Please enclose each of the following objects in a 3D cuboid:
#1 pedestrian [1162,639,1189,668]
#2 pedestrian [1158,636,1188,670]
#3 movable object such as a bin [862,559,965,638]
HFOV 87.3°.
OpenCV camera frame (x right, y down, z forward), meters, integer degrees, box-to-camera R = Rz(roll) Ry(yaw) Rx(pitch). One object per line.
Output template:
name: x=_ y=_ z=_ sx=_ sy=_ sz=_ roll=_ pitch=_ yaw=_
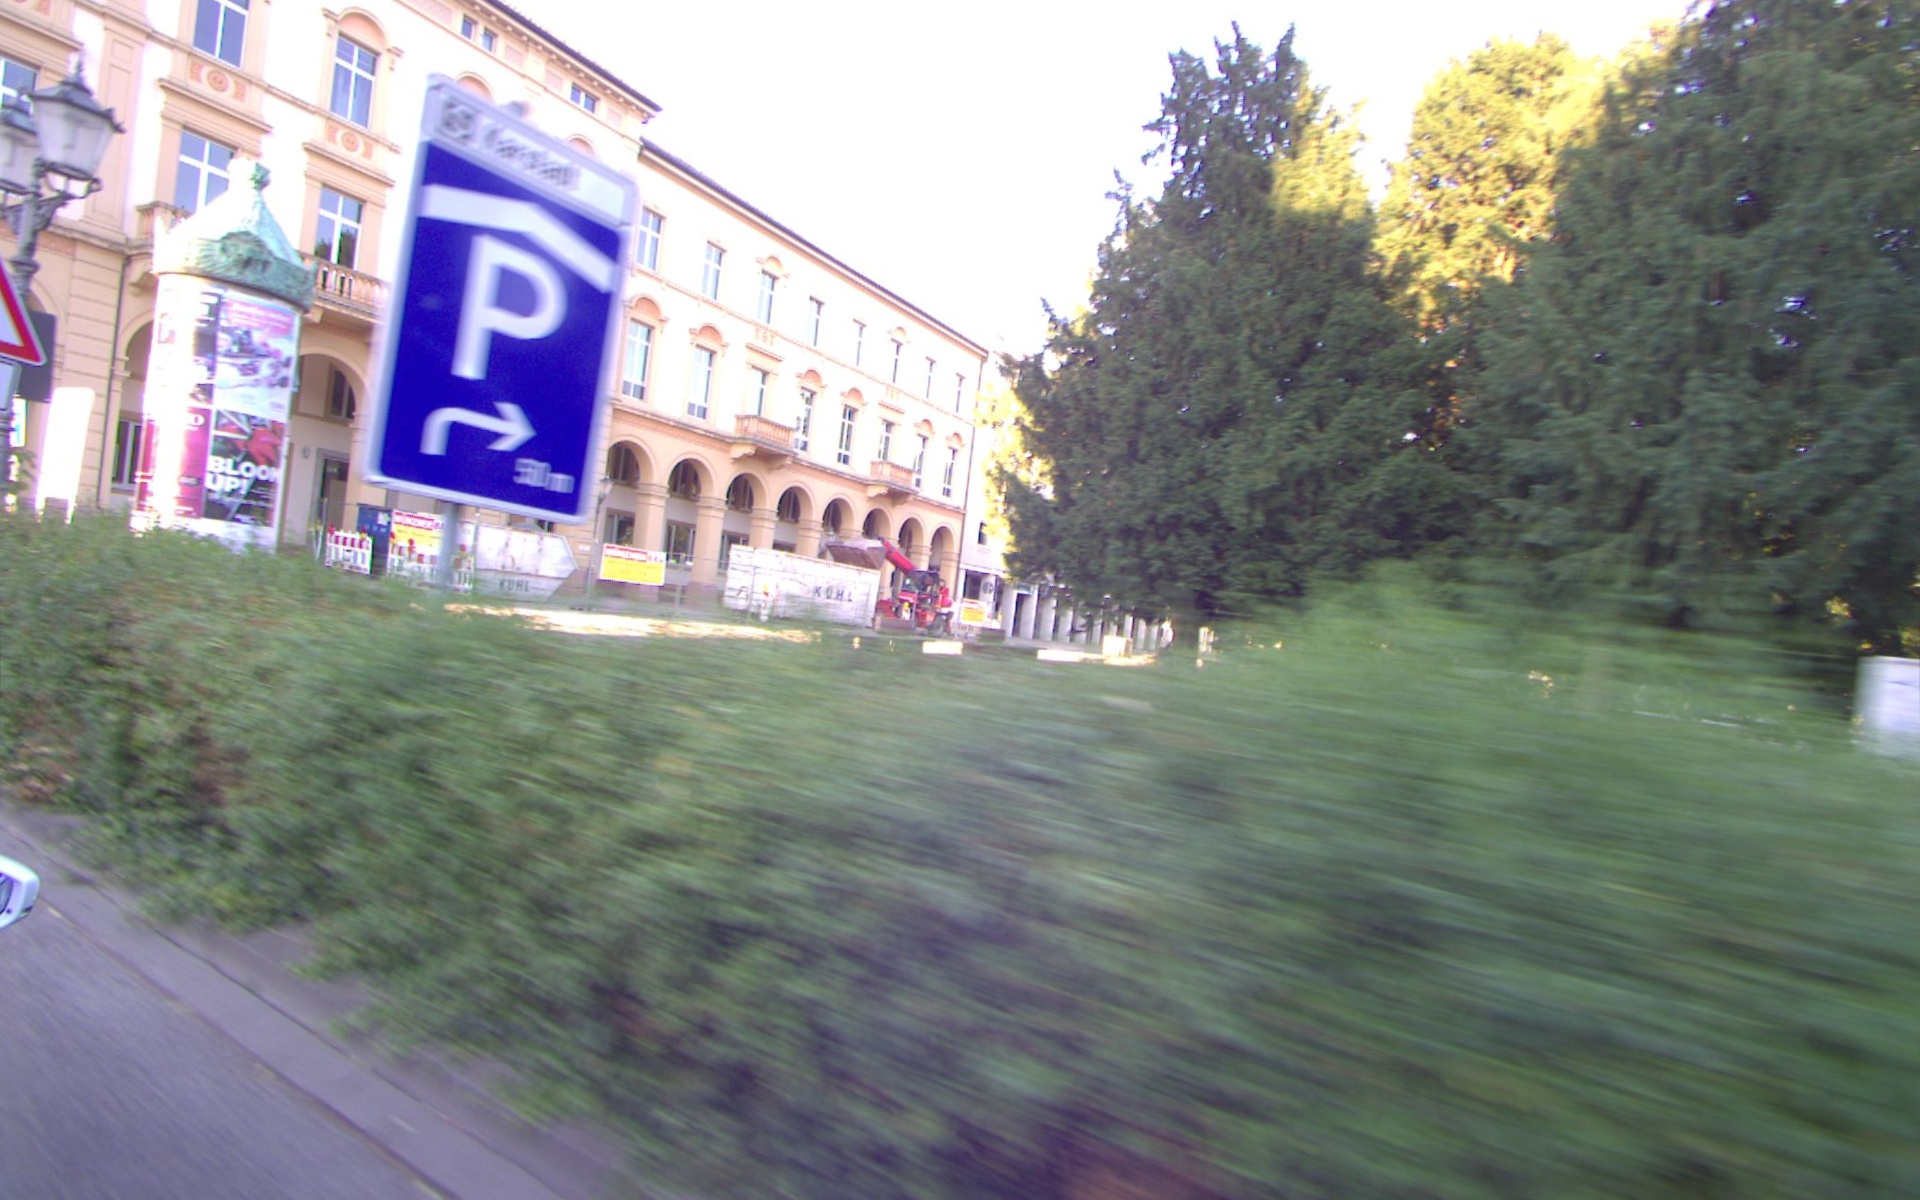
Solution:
pedestrian: x=8.924 y=2.210 z=41.692 sx=0.819 sy=1.106 sz=0.709 roll=7 pitch=0 yaw=26
pedestrian: x=8.628 y=2.150 z=40.785 sx=0.911 sy=1.267 sz=0.709 roll=7 pitch=0 yaw=27
movable object such as a bin: x=-2.044 y=-0.005 z=45.966 sx=1.967 sy=3.045 sz=4.893 roll=7 pitch=0 yaw=32
